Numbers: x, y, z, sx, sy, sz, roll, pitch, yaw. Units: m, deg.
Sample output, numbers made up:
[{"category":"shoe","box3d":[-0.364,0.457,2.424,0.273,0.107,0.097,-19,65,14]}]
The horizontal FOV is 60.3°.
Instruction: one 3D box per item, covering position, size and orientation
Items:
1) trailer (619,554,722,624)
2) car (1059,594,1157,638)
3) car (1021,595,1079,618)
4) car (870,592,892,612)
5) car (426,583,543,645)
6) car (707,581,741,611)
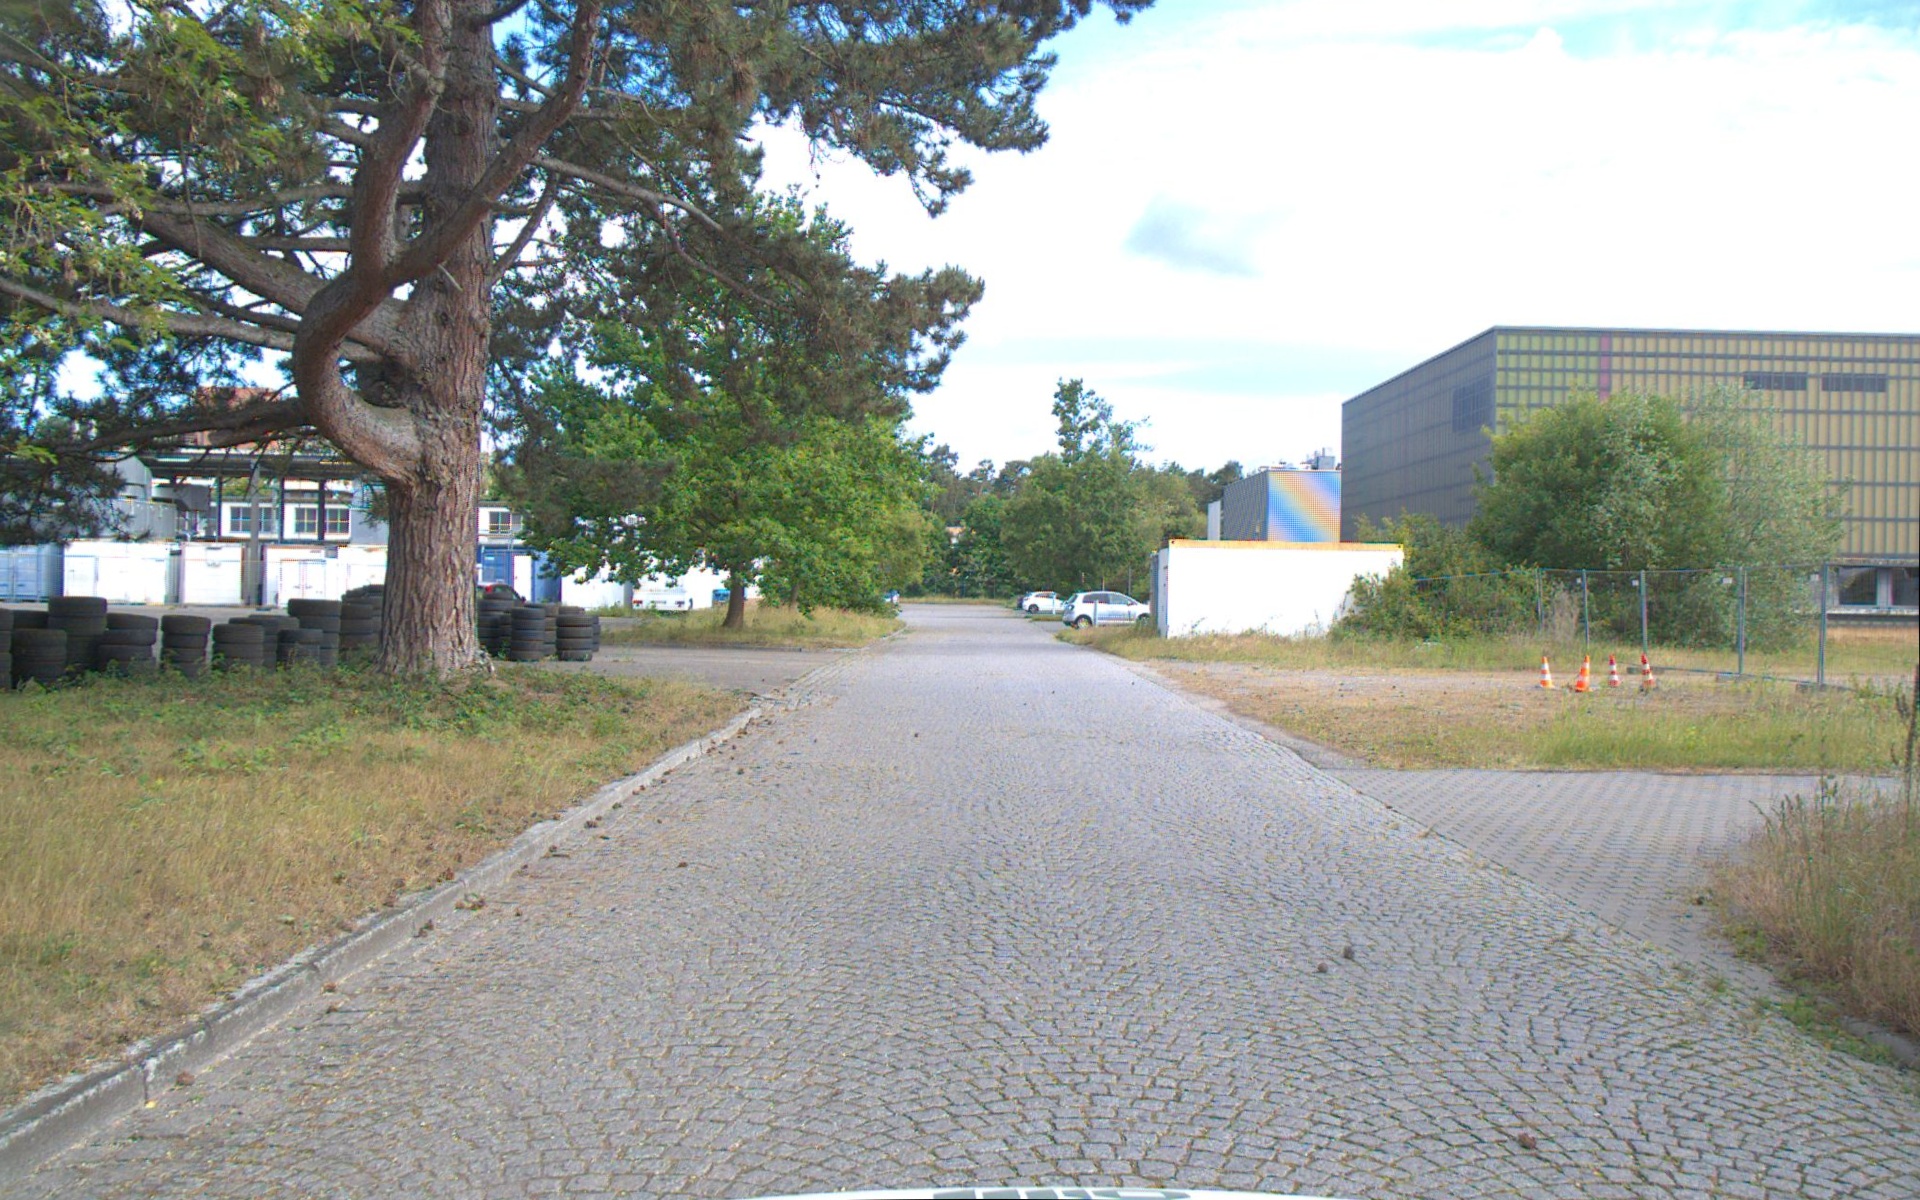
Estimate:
[{"category":"trailer","box3d":[-13.899,-0.531,80.155,3.093,3.121,8.786,1,0,2]},{"category":"car","box3d":[6.028,0.651,67.582,3.772,1.683,1.685,1,0,-3]},{"category":"car","box3d":[6.168,0.435,113.733,3.942,1.528,1.548,1,0,1]},{"category":"car","box3d":[-6.348,0.163,132.727,1.700,1.495,4.044,1,0,-2]},{"category":"car","box3d":[-12.220,0.345,42.712,1.729,1.478,3.490,1,0,5]},{"category":"car","box3d":[-17.194,-0.276,120.658,1.886,2.083,4.598,1,0,-2]}]
